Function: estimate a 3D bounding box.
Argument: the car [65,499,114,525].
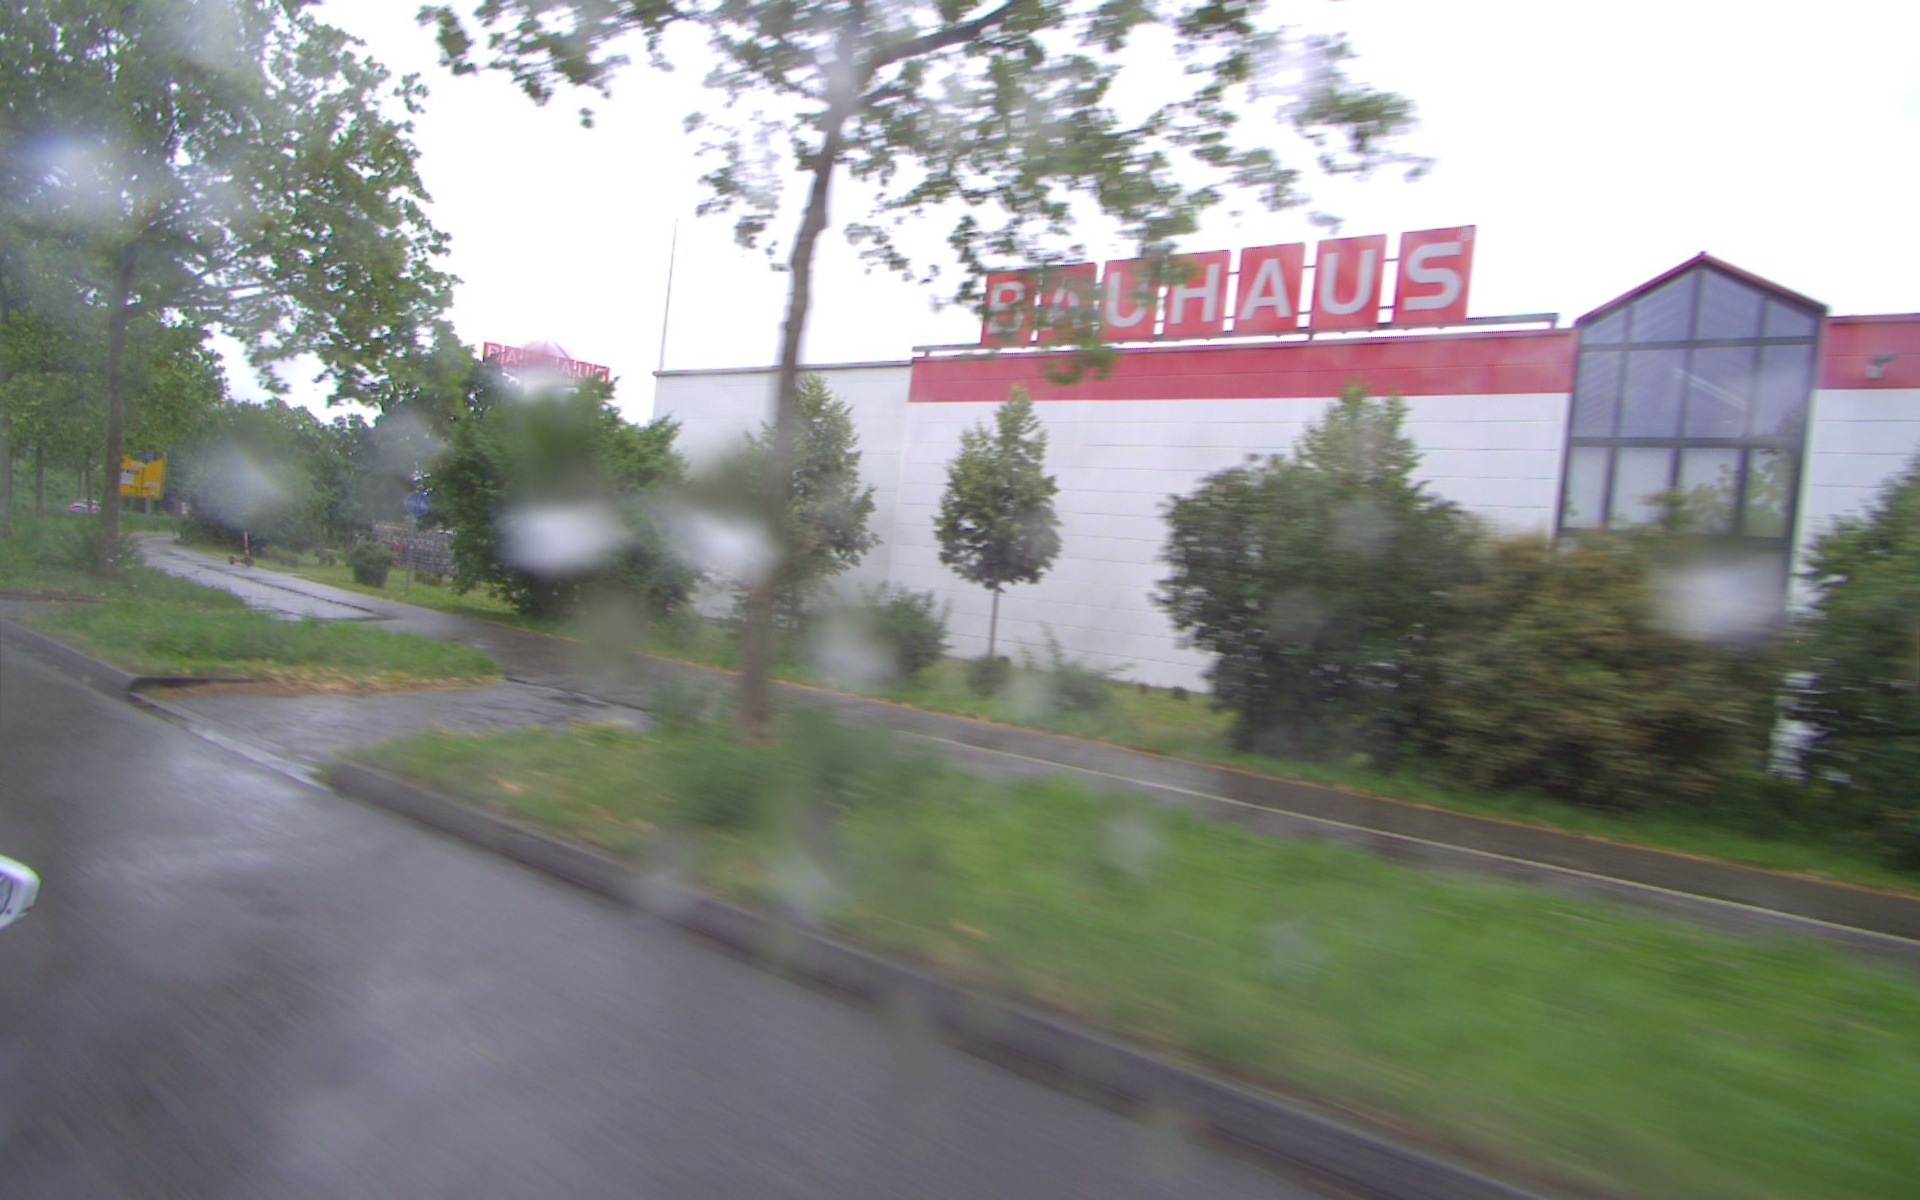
[{"bbox_3d":[-69.115,-6.950,79.953,1.764,1.574,3.975,9,-1,-26],"label":"car"}]

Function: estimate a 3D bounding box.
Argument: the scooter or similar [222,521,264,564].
[{"bbox_3d":[-22.254,-1.788,31.219,1.092,1.212,0.549,7,0,29],"label":"scooter or similar"}]
